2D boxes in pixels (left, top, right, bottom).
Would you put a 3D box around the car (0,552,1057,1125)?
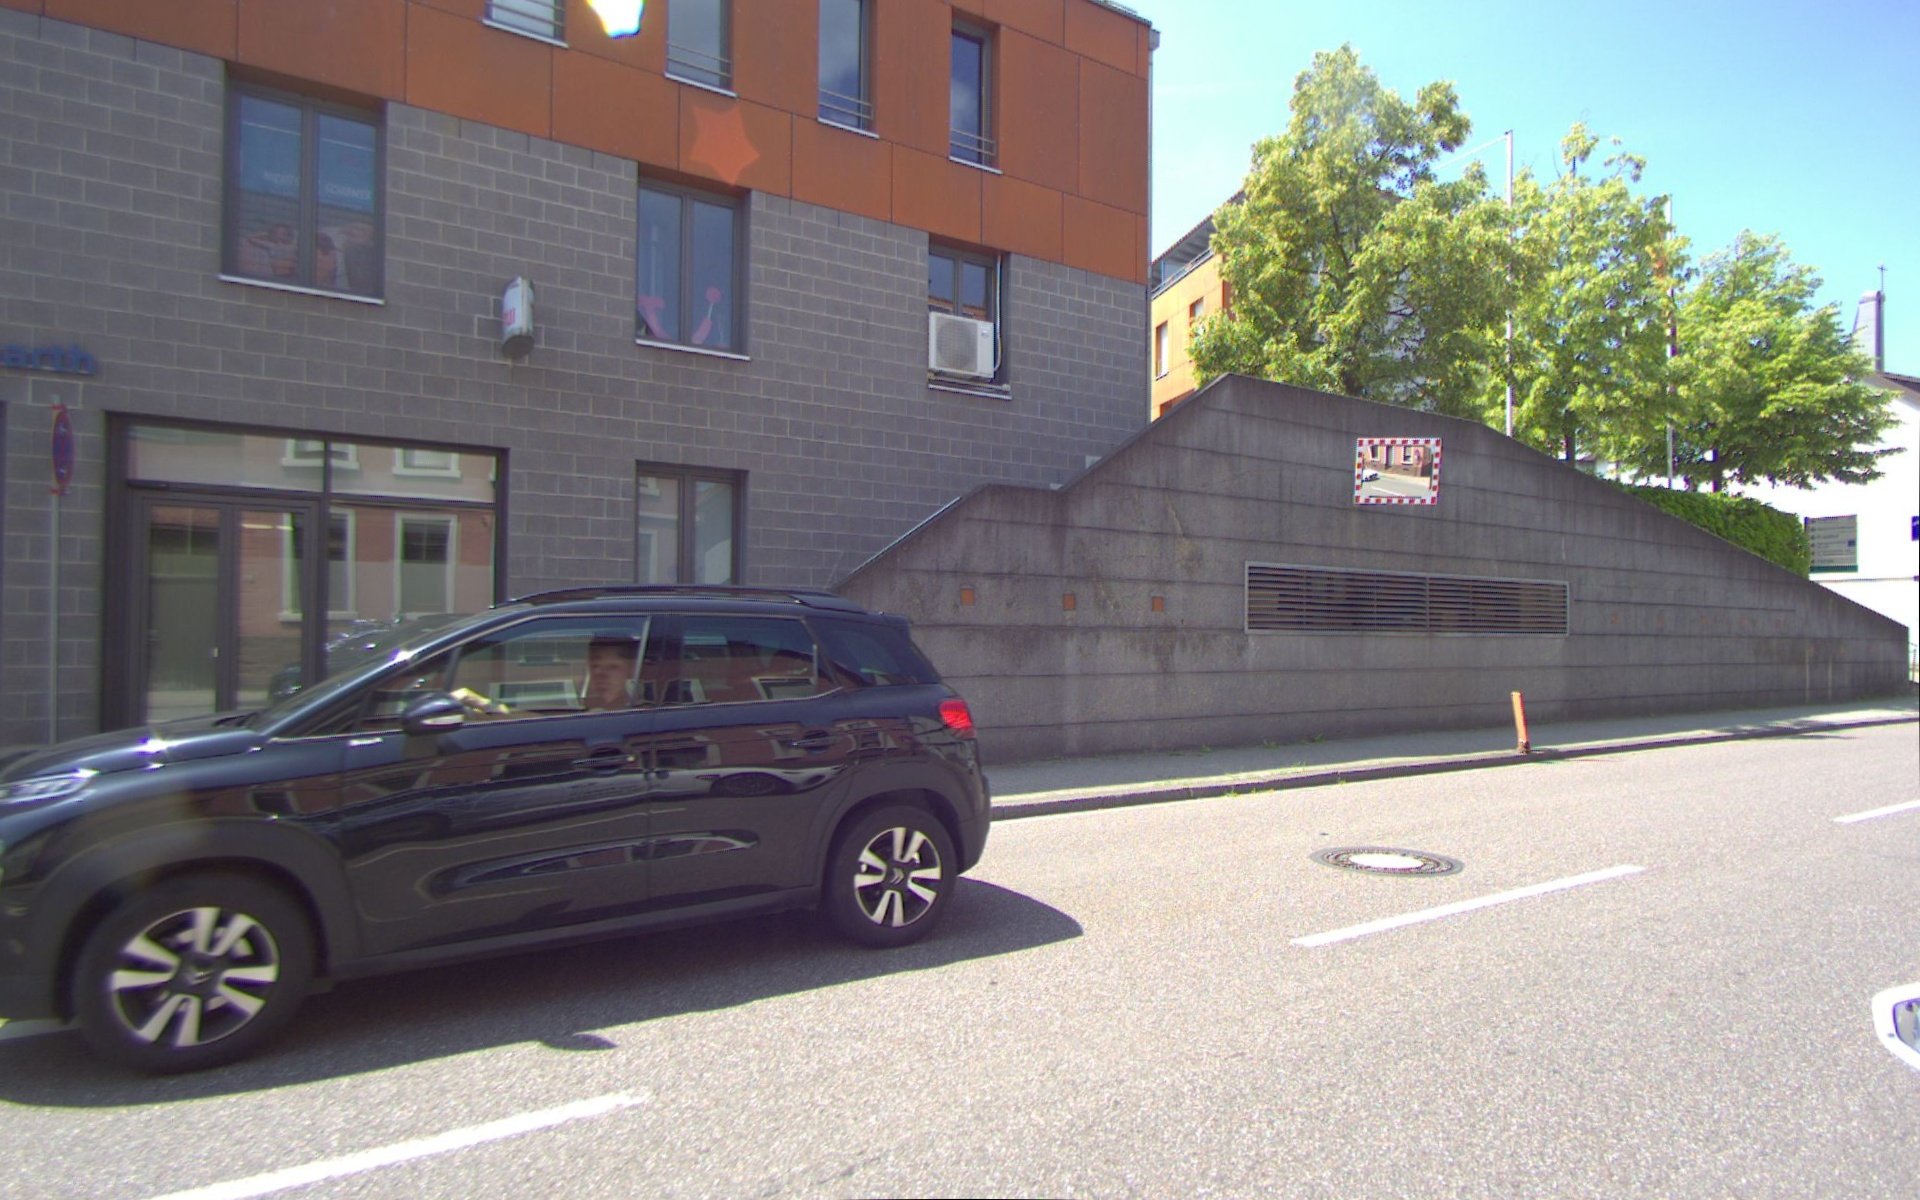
[{"bbox_3d":[-1.652,0.757,4.605,3.970,1.679,1.662,1,-2,-30],"label":"car"}]
